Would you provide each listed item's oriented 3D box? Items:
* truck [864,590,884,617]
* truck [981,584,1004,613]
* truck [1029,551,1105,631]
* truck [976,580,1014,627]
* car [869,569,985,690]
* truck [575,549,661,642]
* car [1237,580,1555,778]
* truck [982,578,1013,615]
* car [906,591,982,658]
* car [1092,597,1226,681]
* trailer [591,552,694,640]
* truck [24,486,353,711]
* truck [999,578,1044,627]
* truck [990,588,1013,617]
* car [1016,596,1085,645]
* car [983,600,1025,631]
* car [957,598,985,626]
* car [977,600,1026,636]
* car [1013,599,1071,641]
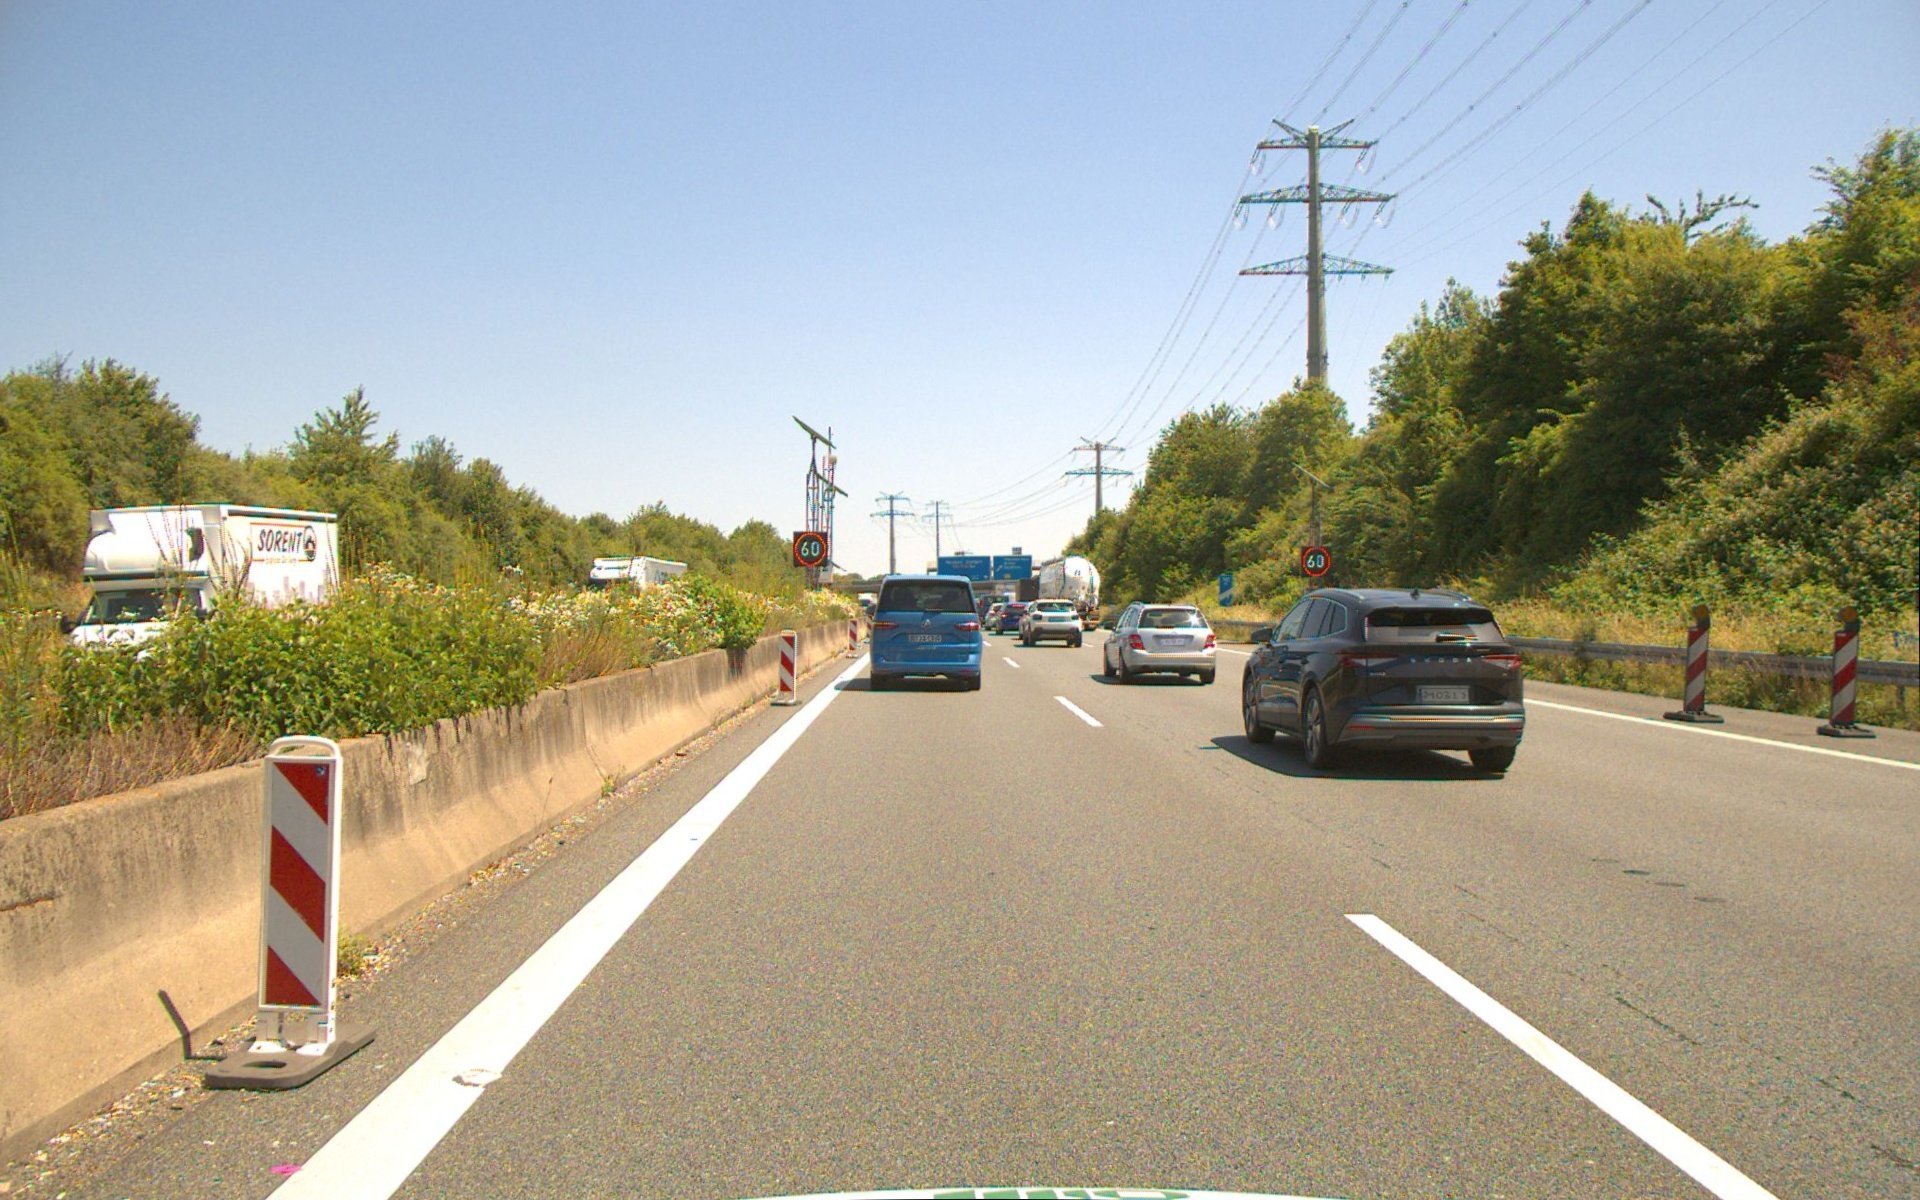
[{"bbox_3d":[-13.393,0.564,258.773,2.707,3.956,9.026,-3,0,-2],"label":"truck"},{"bbox_3d":[5.161,-0.199,263.029,2.879,4.366,12.546,1,0,-2],"label":"truck"},{"bbox_3d":[5.924,-0.455,94.245,2.591,4.143,16.433,1,0,-2],"label":"truck"},{"bbox_3d":[2.081,0.210,100.770,1.953,2.771,5.677,1,0,-2],"label":"truck"},{"bbox_3d":[-0.645,0.481,28.841,1.834,1.912,4.380,1,0,-3],"label":"car"},{"bbox_3d":[-16.842,-0.211,81.897,2.956,4.239,5.804,-3,0,-1],"label":"truck"},{"bbox_3d":[4.030,0.655,16.083,1.791,1.642,4.429,1,0,-2],"label":"car"},{"bbox_3d":[4.485,-0.416,200.349,2.879,4.366,12.546,1,0,-2],"label":"truck"},{"bbox_3d":[-0.476,0.620,43.808,1.870,1.659,4.381,0,0,-2],"label":"car"},{"bbox_3d":[3.697,0.692,31.477,1.785,1.462,4.381,1,0,-3],"label":"car"},{"bbox_3d":[-16.999,-0.202,89.630,2.956,4.239,14.016,-3,0,-1],"label":"trailer"},{"bbox_3d":[-15.740,-0.026,34.705,2.707,3.956,9.026,-3,0,-2],"label":"truck"},{"bbox_3d":[4.759,0.194,130.912,2.591,3.600,12.546,1,0,-2],"label":"truck"},{"bbox_3d":[4.195,0.260,167.571,1.953,2.771,5.677,1,0,-2],"label":"truck"},{"bbox_3d":[2.991,0.665,55.450,1.870,1.534,3.919,1,0,-3],"label":"car"},{"bbox_3d":[2.323,0.801,87.577,1.870,1.542,4.381,1,0,-3],"label":"car"},{"bbox_3d":[0.816,0.879,125.402,1.953,2.049,3.998,1,0,-2],"label":"car"},{"bbox_3d":[1.849,0.809,75.226,1.870,1.542,4.381,1,0,-3],"label":"car"},{"bbox_3d":[3.254,0.789,66.356,1.870,1.597,4.381,1,0,-3],"label":"car"}]
